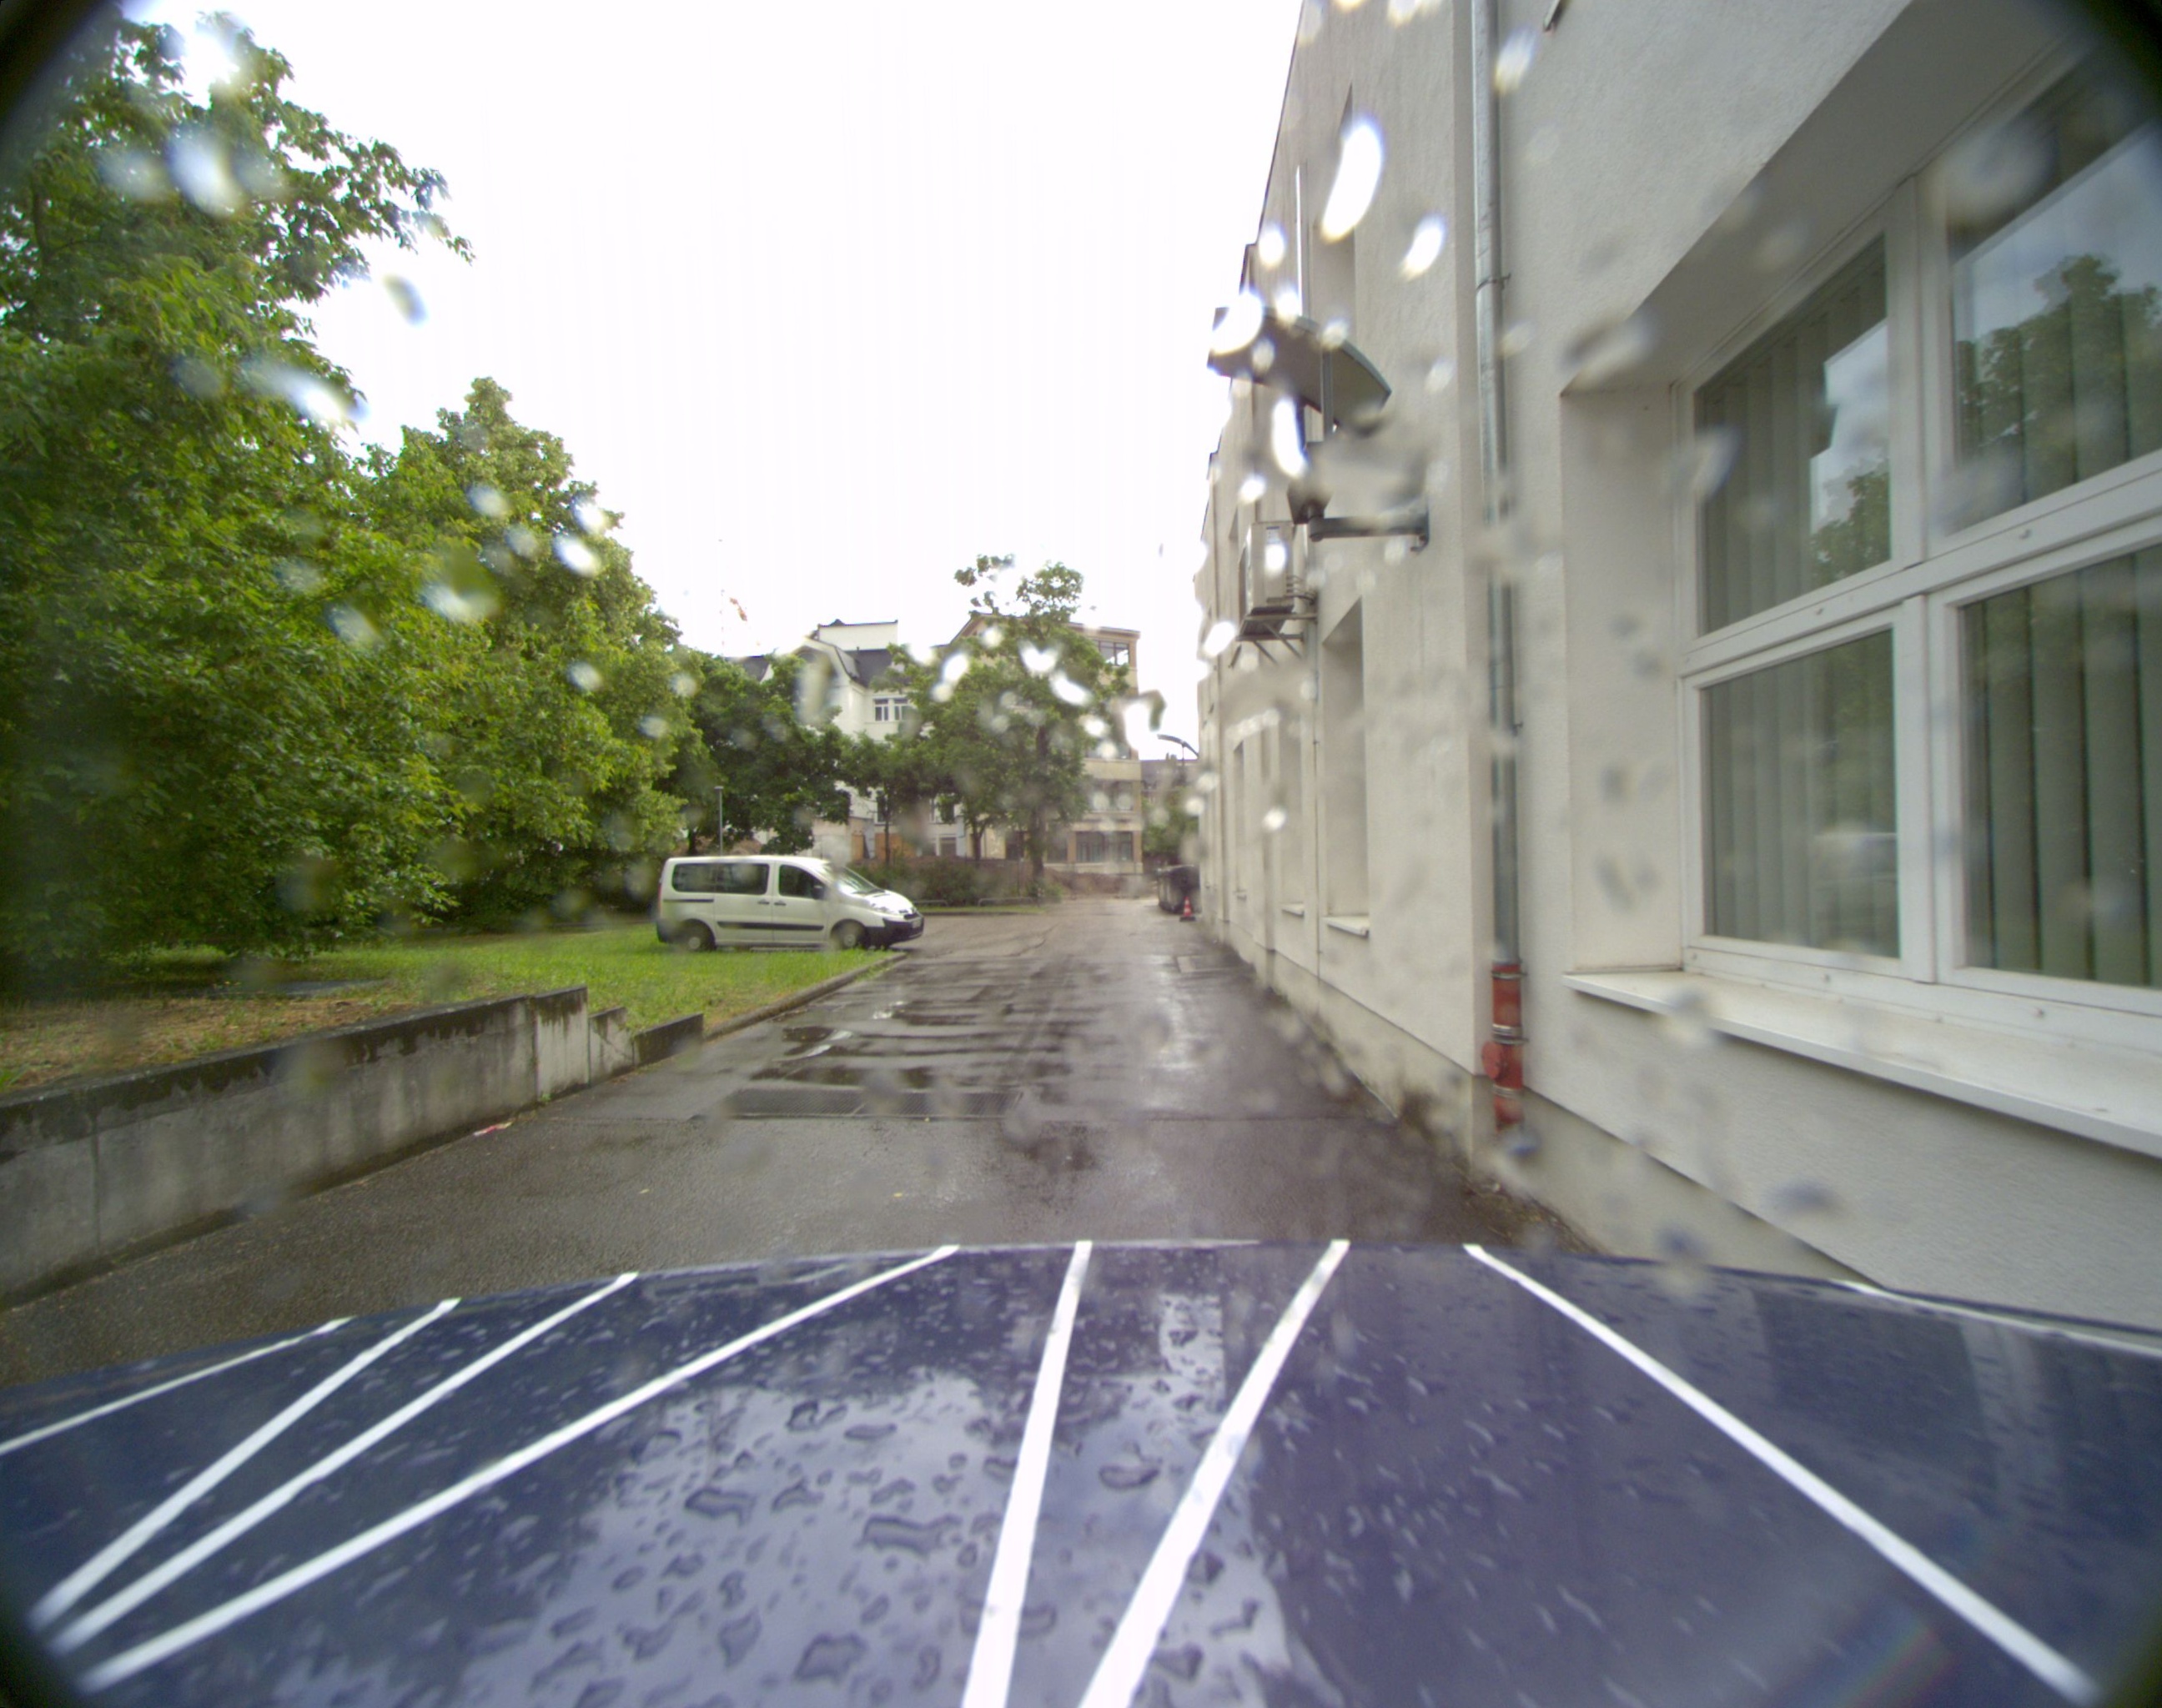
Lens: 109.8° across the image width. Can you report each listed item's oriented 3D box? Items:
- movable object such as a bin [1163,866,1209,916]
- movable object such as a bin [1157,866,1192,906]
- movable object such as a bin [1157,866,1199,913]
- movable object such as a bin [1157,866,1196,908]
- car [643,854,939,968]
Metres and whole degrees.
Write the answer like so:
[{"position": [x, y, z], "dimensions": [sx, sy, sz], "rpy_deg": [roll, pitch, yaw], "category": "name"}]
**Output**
[{"position": [3.195, 1.113, 23.360], "dimensions": [1.167, 1.474, 1.594], "rpy_deg": [0, 0, -1], "category": "movable object such as a bin"}, {"position": [3.634, 1.236, 29.398], "dimensions": [1.102, 1.464, 1.487], "rpy_deg": [-2, -1, 14], "category": "movable object such as a bin"}, {"position": [3.165, 1.137, 24.990], "dimensions": [1.167, 1.474, 1.497], "rpy_deg": [0, 0, -1], "category": "movable object such as a bin"}, {"position": [3.487, 1.195, 27.877], "dimensions": [1.167, 1.474, 1.403], "rpy_deg": [-2, -2, -2], "category": "movable object such as a bin"}, {"position": [-5.474, 1.047, 14.752], "dimensions": [4.883, 1.914, 2.100], "rpy_deg": [-2, 0, 6], "category": "car"}]
